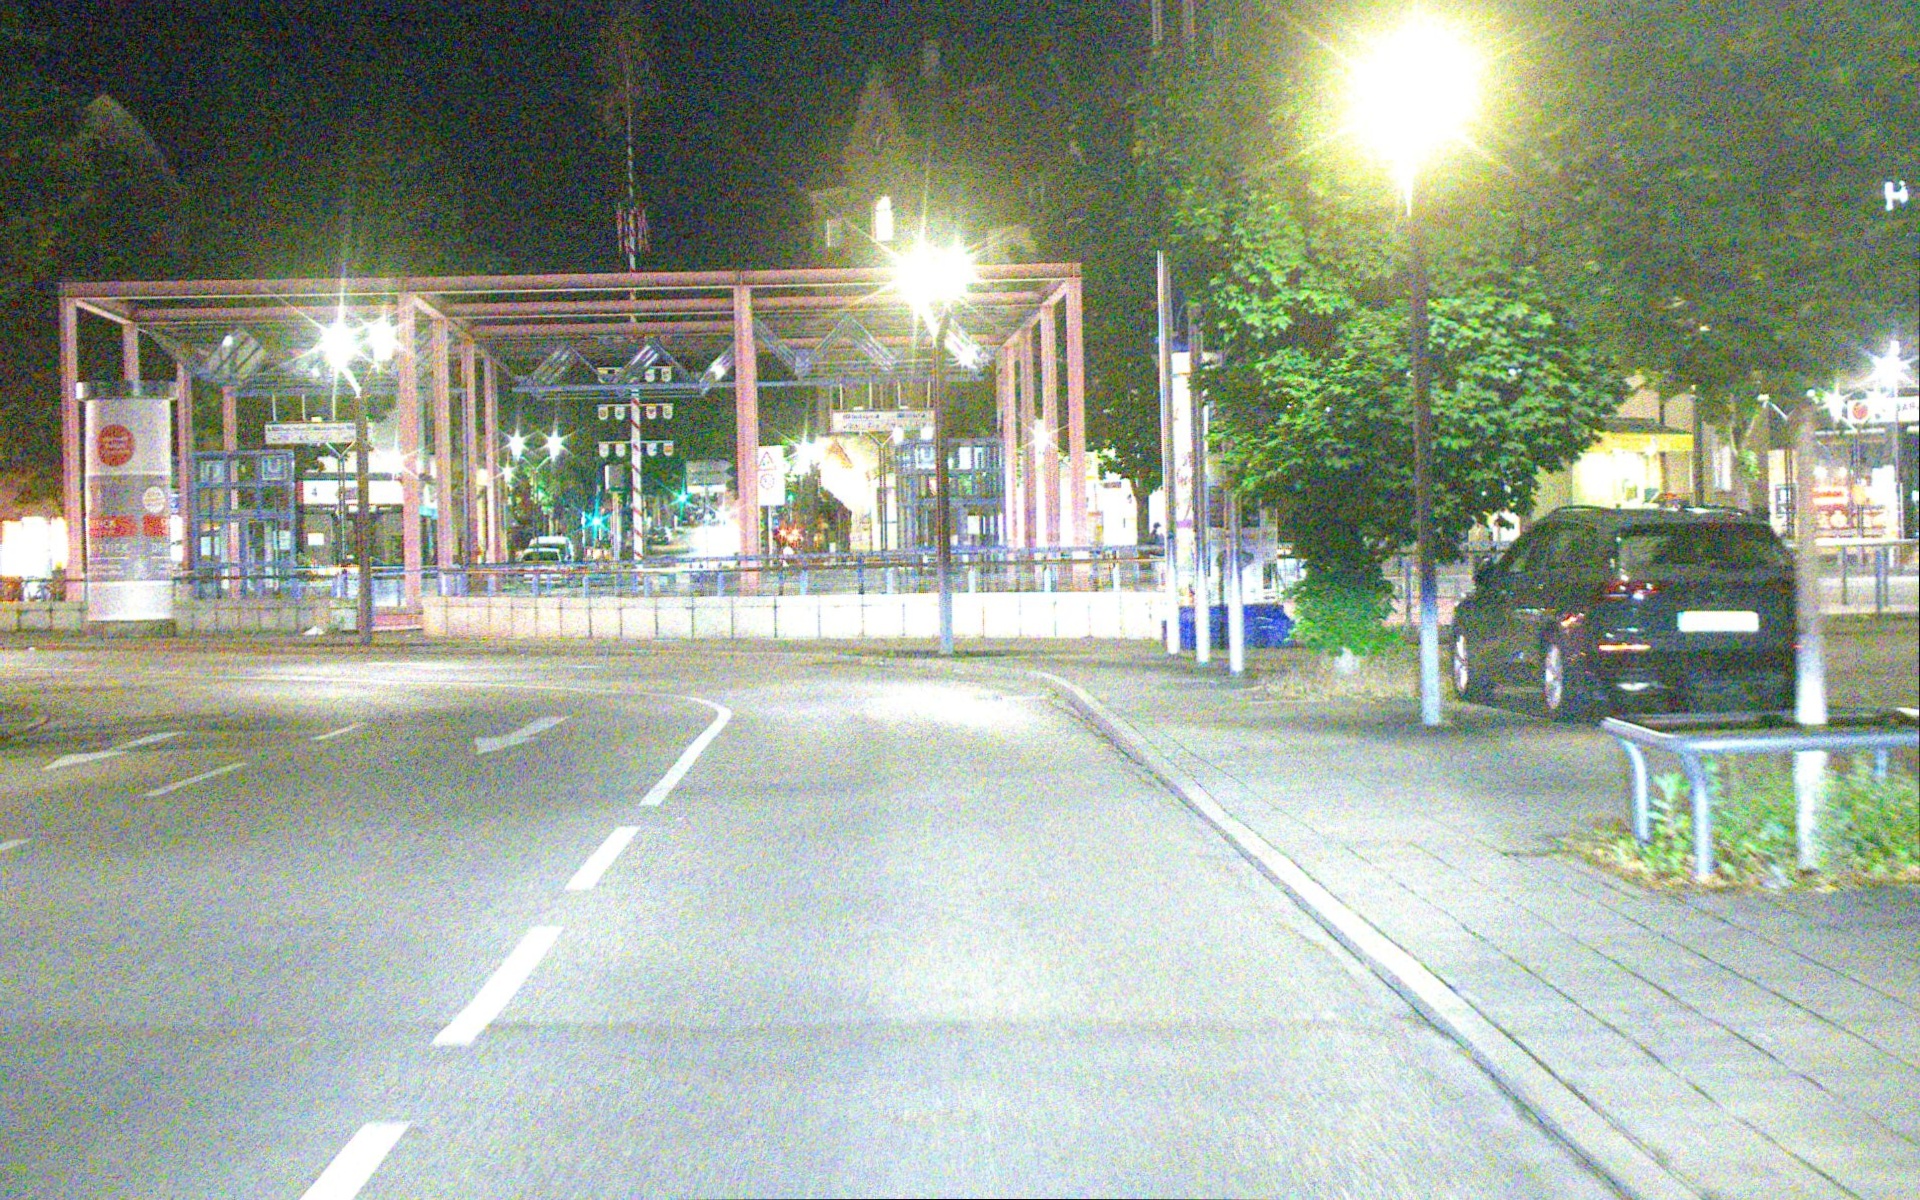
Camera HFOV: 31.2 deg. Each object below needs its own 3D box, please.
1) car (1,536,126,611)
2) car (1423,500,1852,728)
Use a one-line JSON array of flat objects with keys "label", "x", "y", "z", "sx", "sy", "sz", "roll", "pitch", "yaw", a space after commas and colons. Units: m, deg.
[{"label": "car", "x": -19.995, "y": -0.607, "z": 76.861, "sx": 1.993, "sy": 1.568, "sz": 4.329, "roll": -2, "pitch": 1, "yaw": -5}, {"label": "car", "x": 4.734, "y": 0.049, "z": 24.737, "sx": 1.733, "sy": 1.454, "sz": 4.728, "roll": -1, "pitch": 1, "yaw": -5}]
